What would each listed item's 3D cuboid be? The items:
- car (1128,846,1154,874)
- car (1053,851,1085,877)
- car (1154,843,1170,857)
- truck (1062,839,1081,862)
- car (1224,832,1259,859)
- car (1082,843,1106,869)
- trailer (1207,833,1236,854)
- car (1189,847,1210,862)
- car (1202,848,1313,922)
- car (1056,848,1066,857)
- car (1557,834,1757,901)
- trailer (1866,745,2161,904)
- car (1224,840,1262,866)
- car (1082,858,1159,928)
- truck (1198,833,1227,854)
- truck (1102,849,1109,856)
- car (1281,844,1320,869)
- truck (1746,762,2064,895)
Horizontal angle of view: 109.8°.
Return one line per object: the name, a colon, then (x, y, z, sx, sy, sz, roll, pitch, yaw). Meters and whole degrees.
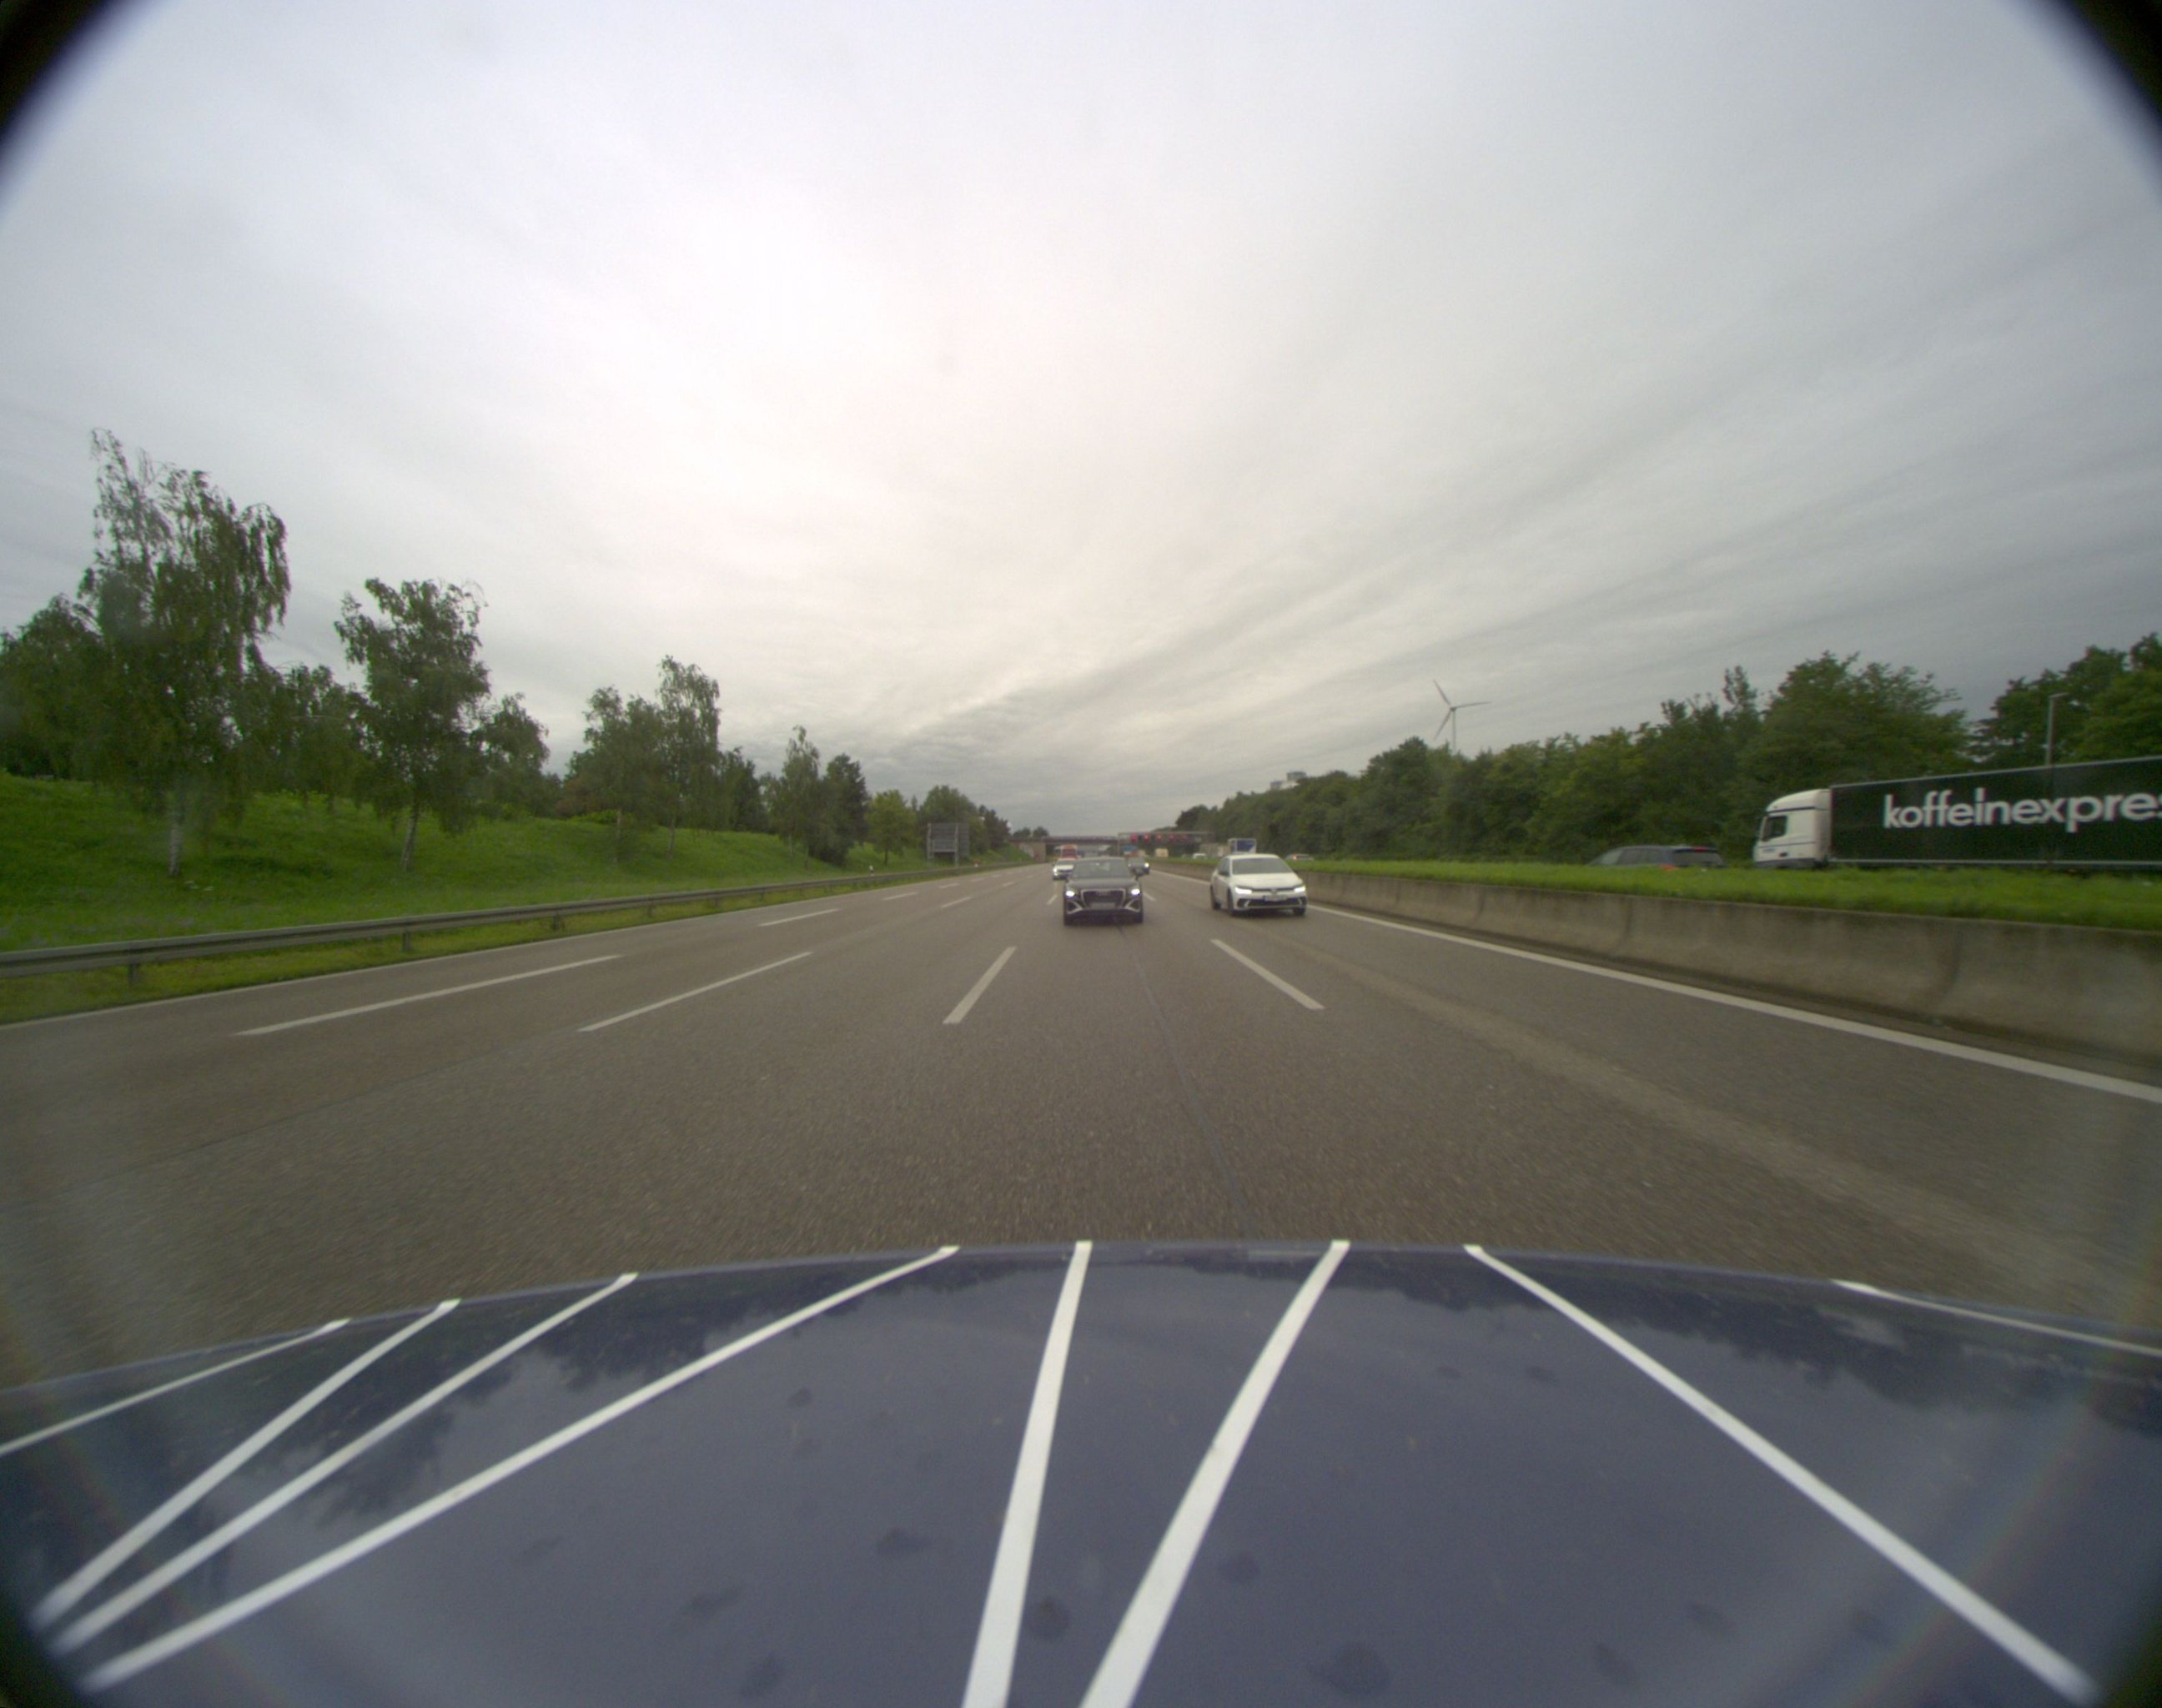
car: (4.627, 0.414, 58.891, 1.725, 2.002, 3.851, -2, 1, 1)
car: (-0.778, 0.681, 52.957, 1.998, 1.555, 4.910, -5, 0, 1)
car: (14.195, -0.678, 133.343, 2.064, 2.371, 7.322, -2, 1, 0)
truck: (-1.586, -0.615, 128.274, 2.836, 3.634, 10.670, -2, 1, 1)
car: (17.508, -0.920, 83.104, 2.327, 2.719, 7.315, -2, 1, 1)
car: (1.425, 0.135, 85.586, 2.459, 2.726, 8.265, -2, 1, 1)
trailer: (20.977, -1.561, 113.680, 2.784, 3.059, 7.871, -2, 1, 0)
car: (13.946, 0.011, 89.861, 1.826, 1.652, 4.148, -2, 1, 0)
car: (4.296, 0.677, 19.237, 1.757, 1.608, 4.663, -1, 0, 0)
car: (-4.716, -0.414, 179.076, 1.998, 2.002, 4.000, -2, 1, 1)
car: (15.770, 0.314, 21.205, 1.998, 1.599, 4.741, -2, 0, 1)
trailer: (23.482, -0.661, 16.418, 2.312, 3.271, 10.562, -2, 1, 2)
car: (13.413, -0.099, 63.226, 2.126, 2.002, 4.519, -2, 0, -1)
car: (0.855, 0.849, 17.993, 1.616, 1.403, 3.326, -2, 1, 0)
truck: (21.196, -1.679, 123.316, 2.891, 3.202, 11.357, -2, 1, 1)
truck: (6.958, -0.340, 215.621, 1.998, 2.002, 4.000, -2, 0, 1)
car: (16.595, 0.141, 57.608, 1.826, 1.739, 3.883, -2, 1, 0)
truck: (23.649, -0.684, 22.446, 2.321, 3.254, 6.581, -2, 1, 1)
